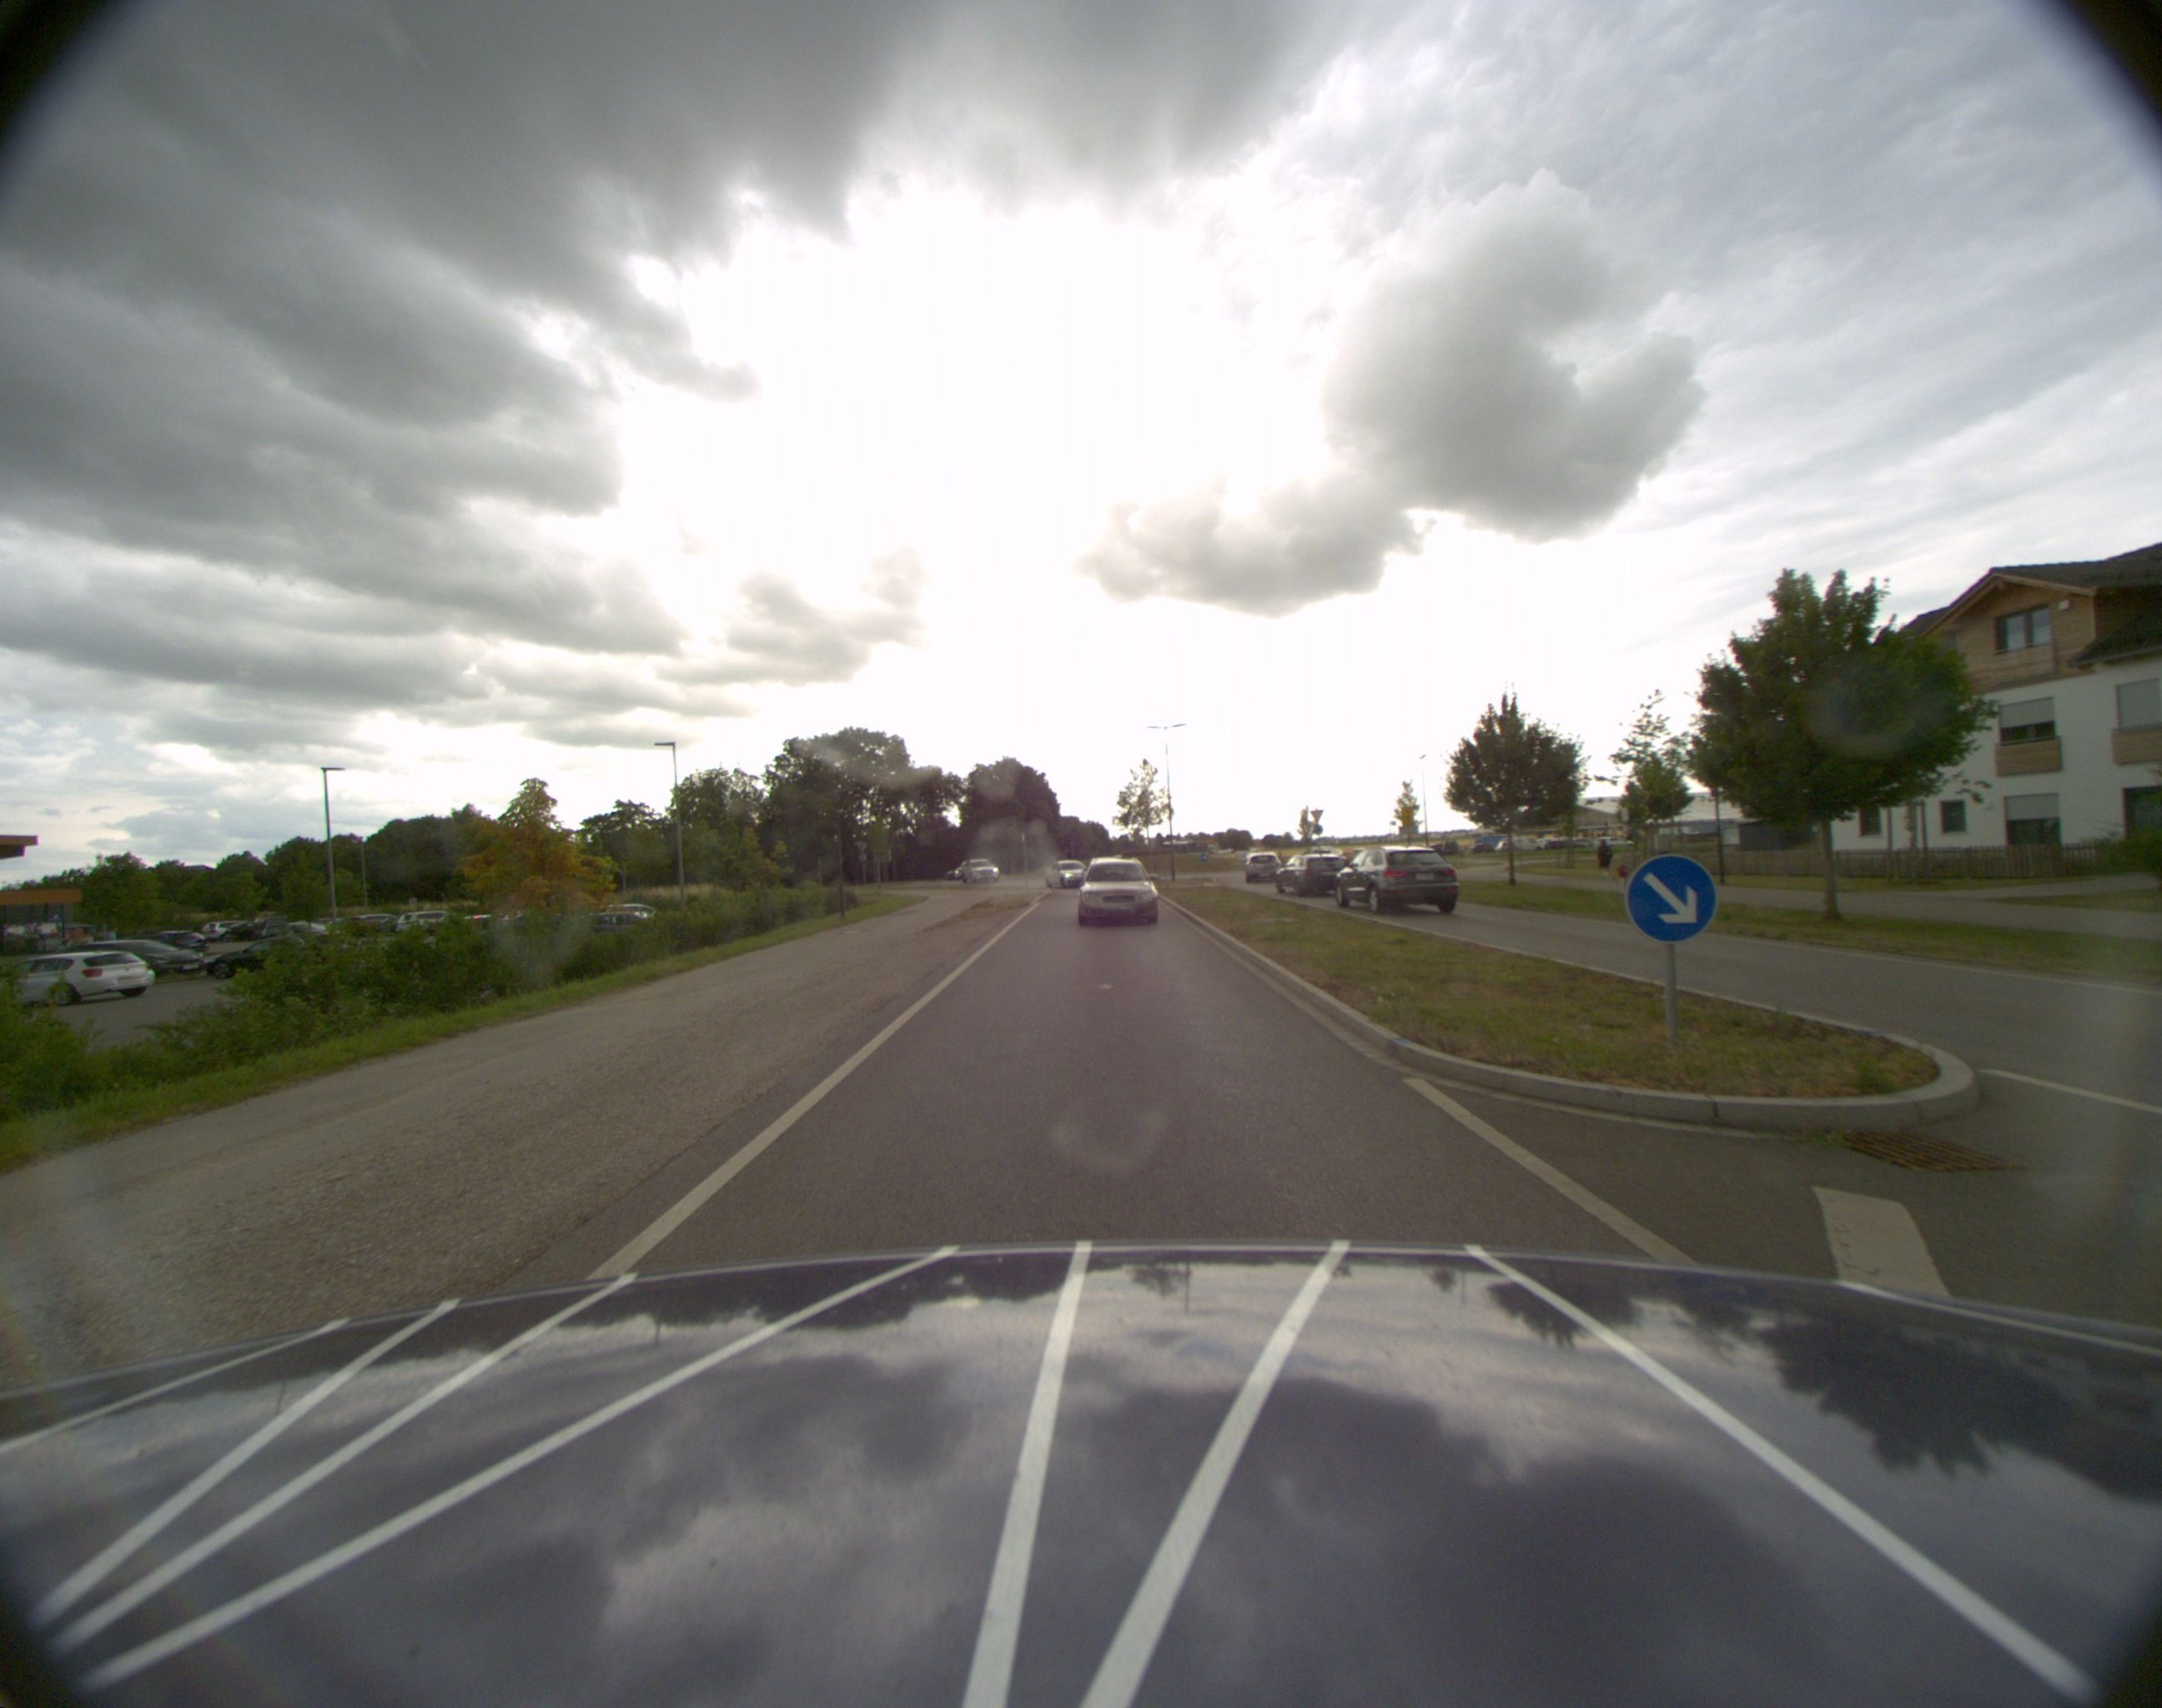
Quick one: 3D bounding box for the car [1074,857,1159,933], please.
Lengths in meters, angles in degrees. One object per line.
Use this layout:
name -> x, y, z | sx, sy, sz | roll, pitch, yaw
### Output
car -> 0.872, 0.867, 17.857 | 1.700, 1.458, 4.000 | -2, 1, 4

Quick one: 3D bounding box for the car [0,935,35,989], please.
car -> -41.434, 4.038, 27.639 | 4.269, 1.860, 2.001 | -2, 0, 5

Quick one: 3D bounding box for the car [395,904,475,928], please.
car -> -46.463, 4.438, 54.753 | 1.697, 1.352, 4.007 | -2, 0, 28

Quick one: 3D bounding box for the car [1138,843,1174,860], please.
car -> 8.295, -0.281, 83.862 | 1.994, 1.674, 4.008 | -1, 0, 38

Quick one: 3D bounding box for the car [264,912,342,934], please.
car -> -62.219, 5.492, 60.863 | 1.697, 1.352, 4.007 | -2, 0, 28

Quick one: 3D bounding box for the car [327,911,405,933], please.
car -> -54.926, 5.202, 58.427 | 1.697, 1.352, 4.007 | -2, 0, 28

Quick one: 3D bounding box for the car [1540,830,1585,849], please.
car -> 55.046, -1.682, 86.866 | 4.001, 2.002, 1.998 | -2, 0, -12

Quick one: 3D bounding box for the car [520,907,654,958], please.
car -> -18.949, 3.004, 29.274 | 3.997, 1.696, 1.657 | -2, 0, -1

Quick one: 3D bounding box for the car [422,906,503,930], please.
car -> -43.437, 4.477, 53.450 | 1.697, 1.352, 4.007 | -2, 0, 28

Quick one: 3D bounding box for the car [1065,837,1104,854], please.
car -> 0.434, -0.966, 84.662 | 1.995, 1.794, 4.781 | -2, 0, 33

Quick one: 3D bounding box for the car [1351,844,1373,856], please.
car -> 32.364, -0.491, 87.566 | 1.995, 1.280, 4.007 | -2, 0, 25

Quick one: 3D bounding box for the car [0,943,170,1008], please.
car -> -29.482, 3.528, 22.182 | 3.558, 1.524, 1.753 | -2, 0, -1

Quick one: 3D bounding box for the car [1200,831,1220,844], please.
car -> 15.990, -2.072, 94.390 | 1.774, 1.435, 4.000 | -2, 0, 1

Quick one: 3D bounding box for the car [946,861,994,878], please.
car -> -10.159, 1.405, 69.286 | 4.004, 1.412, 1.713 | -2, 0, -21

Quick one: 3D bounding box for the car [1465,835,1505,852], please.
car -> 50.400, -1.325, 94.733 | 4.001, 2.002, 1.998 | -2, 0, -12

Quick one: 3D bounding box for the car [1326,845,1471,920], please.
car -> 7.598, 0.625, 18.654 | 1.830, 1.573, 4.216 | -2, 0, 1

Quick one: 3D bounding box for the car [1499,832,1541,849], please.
car -> 52.538, -1.607, 90.983 | 4.000, 2.002, 1.999 | -2, 0, -8

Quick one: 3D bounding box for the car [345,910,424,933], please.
car -> -52.001, 4.994, 56.818 | 1.697, 1.352, 4.007 | -2, 0, 28

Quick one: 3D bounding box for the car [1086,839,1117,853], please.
car -> 2.588, -1.024, 95.634 | 1.995, 1.674, 4.008 | -2, 0, 33

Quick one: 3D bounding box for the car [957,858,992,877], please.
car -> -9.043, 1.107, 64.804 | 1.997, 1.510, 3.773 | -2, 0, 8

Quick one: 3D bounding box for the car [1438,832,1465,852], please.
car -> 40.535, -1.294, 83.157 | 1.996, 2.002, 4.005 | -2, 0, 16

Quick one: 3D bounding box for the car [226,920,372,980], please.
car -> -28.852, 3.515, 28.116 | 3.390, 1.696, 1.802 | -5, 0, -1

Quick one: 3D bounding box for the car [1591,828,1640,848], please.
car -> 56.994, -1.742, 81.043 | 4.001, 2.002, 1.998 | -2, 0, -12

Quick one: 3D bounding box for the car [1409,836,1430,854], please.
car -> 37.892, -0.997, 84.974 | 1.995, 2.002, 4.007 | -2, 0, 25

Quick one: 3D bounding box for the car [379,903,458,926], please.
car -> -49.170, 4.498, 56.468 | 1.697, 1.352, 4.007 | -2, 0, 28

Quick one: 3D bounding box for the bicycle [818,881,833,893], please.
bicycle -> -21.046, 2.727, 62.520 | 1.297, 0.956, 0.569 | -2, 0, 41

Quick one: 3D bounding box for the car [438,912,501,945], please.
car -> -32.660, 3.960, 40.707 | 1.847, 1.352, 3.991 | -2, 0, -28

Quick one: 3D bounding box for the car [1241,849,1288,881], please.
car -> 9.243, 0.528, 38.592 | 1.829, 1.480, 4.218 | -2, 0, 7

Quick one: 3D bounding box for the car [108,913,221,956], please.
car -> -48.130, 4.223, 39.946 | 3.994, 2.002, 2.001 | -2, 0, 9

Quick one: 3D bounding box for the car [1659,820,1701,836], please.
car -> 82.523, -3.581, 104.650 | 4.568, 2.002, 1.998 | -2, 0, -12

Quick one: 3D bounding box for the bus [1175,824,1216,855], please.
bus -> 12.882, -1.533, 85.890 | 2.992, 3.261, 6.481 | -2, 0, -5

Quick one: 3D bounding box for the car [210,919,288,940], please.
car -> -68.901, 6.239, 62.965 | 1.697, 1.352, 4.007 | -2, 0, 28

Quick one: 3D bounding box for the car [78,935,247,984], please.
car -> -34.371, 3.928, 28.502 | 4.127, 1.476, 2.001 | -2, 0, 5

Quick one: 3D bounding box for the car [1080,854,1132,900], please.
car -> 1.098, 0.871, 31.232 | 1.870, 1.578, 5.063 | -3, 1, 3

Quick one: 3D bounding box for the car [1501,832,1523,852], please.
car -> 47.054, -1.320, 83.045 | 1.995, 2.002, 4.007 | -2, 0, 29

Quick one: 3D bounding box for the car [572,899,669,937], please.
car -> -25.380, 3.482, 42.049 | 1.697, 1.707, 4.250 | -2, 0, 28

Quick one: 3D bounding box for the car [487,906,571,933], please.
car -> -35.399, 4.172, 48.844 | 1.697, 1.352, 4.007 | -2, 0, 28

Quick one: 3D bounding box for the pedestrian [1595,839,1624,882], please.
pedestrian -> 19.335, 0.221, 27.803 | 0.547, 1.521, 0.586 | -4, 0, 1

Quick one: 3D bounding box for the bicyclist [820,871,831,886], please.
bicyclist -> -21.046, 2.040, 62.517 | 0.657, 1.236, 0.556 | -1, 1, 41

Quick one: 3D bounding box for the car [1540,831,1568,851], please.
car -> 50.174, -1.412, 80.628 | 2.227, 2.002, 4.007 | -2, 0, 29

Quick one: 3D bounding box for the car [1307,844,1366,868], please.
car -> 17.559, 0.112, 52.091 | 4.345, 1.480, 1.827 | -2, 0, -40

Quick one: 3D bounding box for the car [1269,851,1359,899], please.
car -> 8.027, 0.683, 26.616 | 1.830, 1.480, 4.350 | -2, 0, 1

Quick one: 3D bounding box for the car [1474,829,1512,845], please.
car -> 53.430, -2.199, 98.519 | 4.001, 2.002, 1.998 | -2, 0, -12

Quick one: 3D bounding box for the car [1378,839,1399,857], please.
car -> 35.039, -0.701, 86.581 | 1.995, 2.002, 4.007 | -2, 0, 25

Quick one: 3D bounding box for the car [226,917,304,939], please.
car -> -66.083, 6.003, 61.602 | 1.697, 1.352, 4.007 | -2, 0, 28

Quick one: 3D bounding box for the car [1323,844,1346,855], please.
car -> 29.722, -0.545, 89.074 | 1.995, 1.280, 4.007 | -2, 0, 25

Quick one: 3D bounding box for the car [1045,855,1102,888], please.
car -> -0.445, 0.907, 40.818 | 1.872, 1.533, 4.193 | -4, 1, -17

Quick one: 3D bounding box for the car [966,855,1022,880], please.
car -> -6.143, 0.937, 54.117 | 1.995, 1.674, 4.007 | -2, 0, 28
